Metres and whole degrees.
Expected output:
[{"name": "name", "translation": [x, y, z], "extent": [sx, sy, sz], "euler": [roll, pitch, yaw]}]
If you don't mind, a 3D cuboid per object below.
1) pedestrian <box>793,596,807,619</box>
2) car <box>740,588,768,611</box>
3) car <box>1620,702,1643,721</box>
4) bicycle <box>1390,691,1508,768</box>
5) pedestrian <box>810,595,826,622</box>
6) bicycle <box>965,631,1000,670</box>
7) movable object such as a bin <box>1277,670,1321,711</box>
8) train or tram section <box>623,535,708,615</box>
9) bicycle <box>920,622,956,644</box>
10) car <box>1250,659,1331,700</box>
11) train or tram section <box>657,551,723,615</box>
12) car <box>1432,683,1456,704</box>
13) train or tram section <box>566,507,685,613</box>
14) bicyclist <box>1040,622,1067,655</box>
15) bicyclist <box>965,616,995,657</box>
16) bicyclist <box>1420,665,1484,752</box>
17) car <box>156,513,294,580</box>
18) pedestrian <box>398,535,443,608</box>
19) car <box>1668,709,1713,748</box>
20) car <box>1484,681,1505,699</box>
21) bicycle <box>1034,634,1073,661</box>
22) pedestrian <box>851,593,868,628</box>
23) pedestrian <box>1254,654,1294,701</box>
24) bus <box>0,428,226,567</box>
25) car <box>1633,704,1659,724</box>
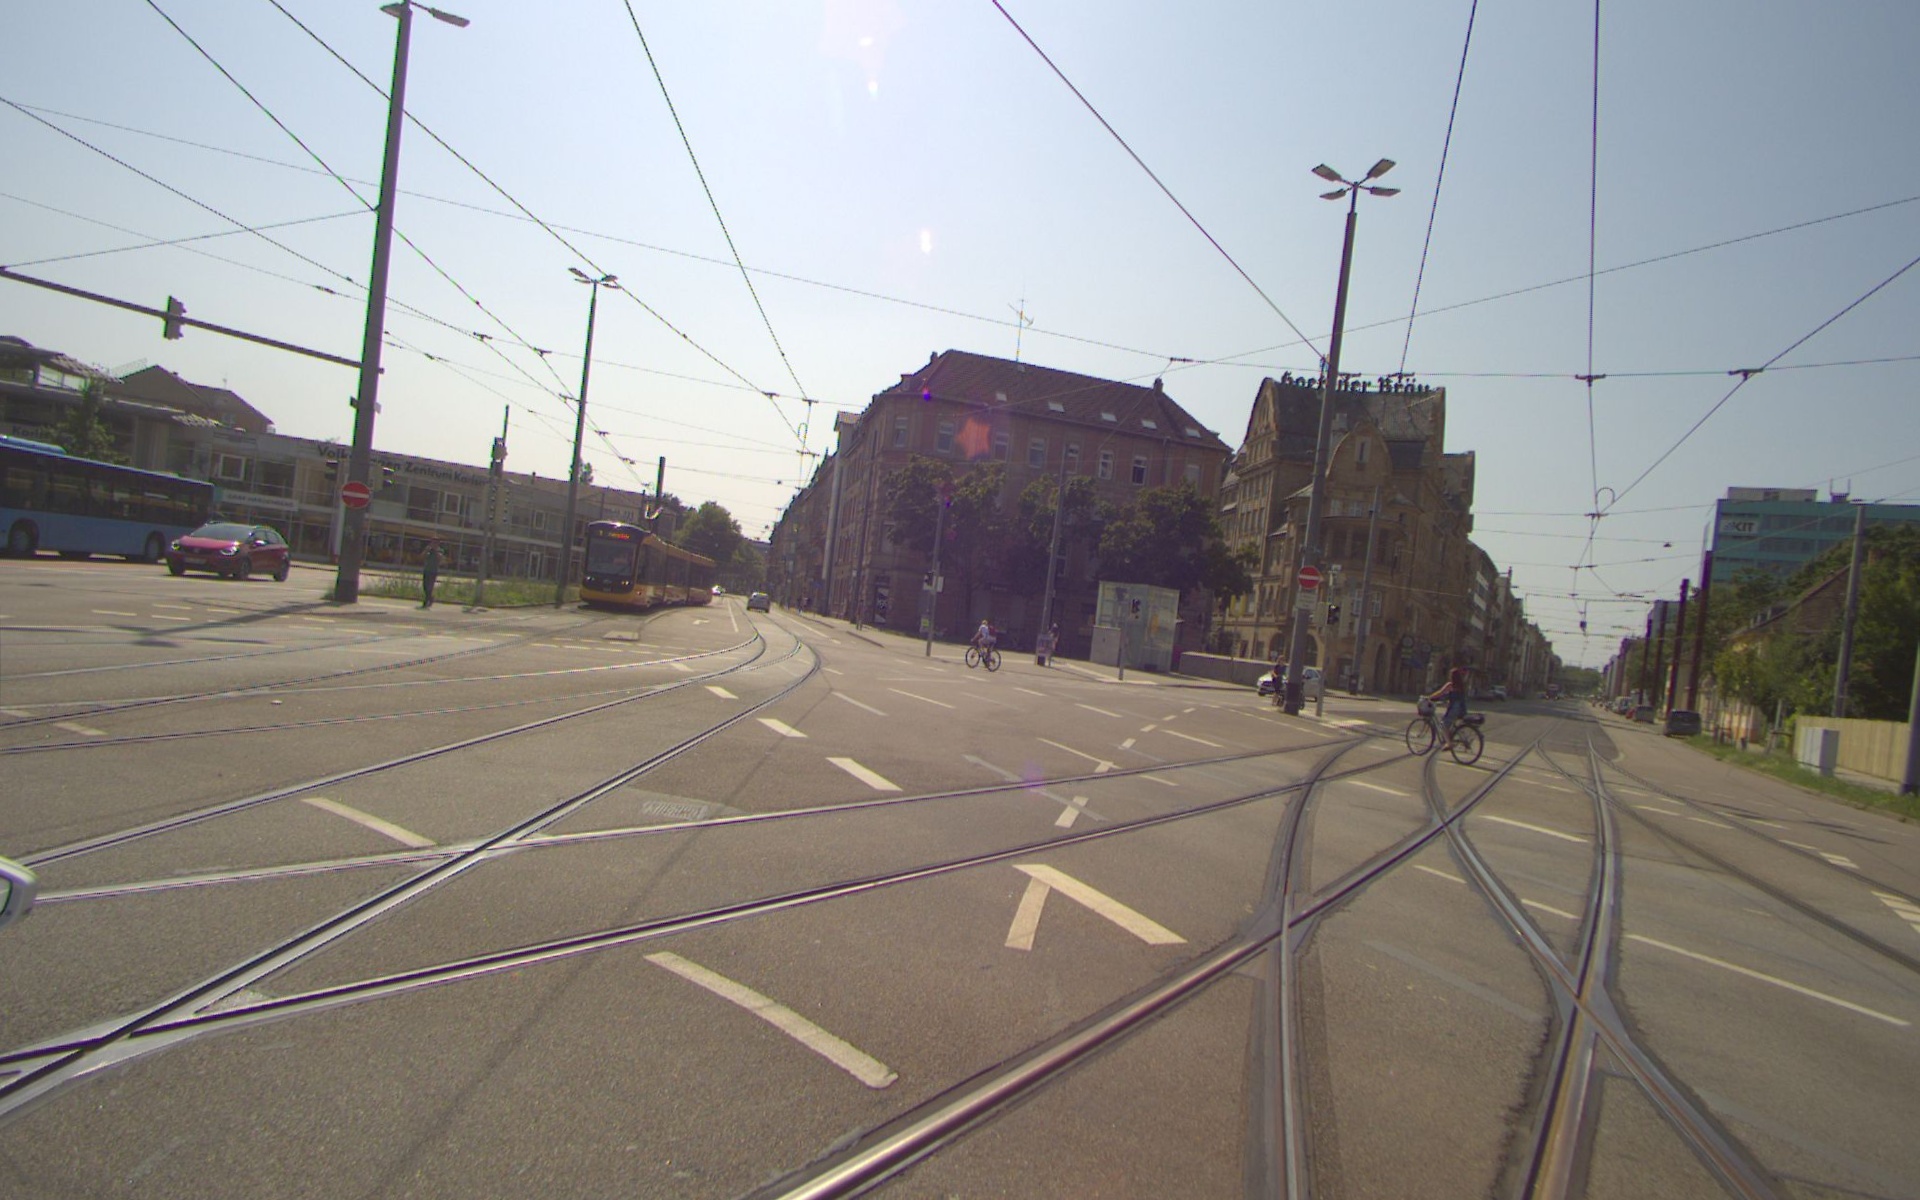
[{"name": "pedestrian", "translation": [-14.626, 0.663, 91.940], "extent": [0.783, 2.037, 0.806], "euler": [8, -1, -21]}, {"name": "car", "translation": [-16.308, -0.029, 79.532], "extent": [1.713, 1.592, 3.600], "euler": [8, -2, -17]}, {"name": "car", "translation": [80.208, 13.308, 120.185], "extent": [1.969, 1.925, 3.992], "euler": [7, -2, 36]}, {"name": "bicycle", "translation": [9.047, 2.380, 18.713], "extent": [0.435, 1.124, 2.118], "euler": [6, -1, -22]}, {"name": "pedestrian", "translation": [-11.301, 0.647, 80.096], "extent": [0.830, 2.037, 0.806], "euler": [8, -1, -21]}, {"name": "bicycle", "translation": [0.731, 1.647, 32.970], "extent": [0.435, 1.125, 1.635], "euler": [7, 0, -20]}, {"name": "movable object such as a bin", "translation": [10.388, 2.770, 30.851], "extent": [0.806, 1.097, 1.038], "euler": [8, -2, -4]}, {"name": "train or tram section", "translation": [-16.312, -1.183, 56.598], "extent": [2.552, 3.600, 12.206], "euler": [8, -2, -9]}, {"name": "bicycle", "translation": [-1.163, 1.744, 52.927], "extent": [1.763, 0.969, 0.460], "euler": [7, 0, -19]}, {"name": "car", "translation": [14.202, 3.428, 43.165], "extent": [3.704, 1.302, 1.570], "euler": [10, -3, -41]}, {"name": "train or tram section", "translation": [-18.139, -0.956, 68.325], "extent": [2.552, 3.600, 12.206], "euler": [8, -2, -9]}, {"name": "car", "translation": [38.990, 7.504, 80.981], "extent": [1.352, 1.414, 3.253], "euler": [7, -2, 30]}, {"name": "train or tram section", "translation": [-14.330, -1.415, 44.213], "extent": [2.552, 3.600, 12.206], "euler": [8, -2, -9]}, {"name": "bicyclist", "translation": [4.236, 1.754, 45.819], "extent": [0.739, 1.336, 0.916], "euler": [7, 0, -23]}, {"name": "bicyclist", "translation": [0.659, 1.197, 33.021], "extent": [0.649, 1.269, 0.641], "euler": [7, 0, -23]}, {"name": "bicyclist", "translation": [9.107, 2.003, 18.627], "extent": [0.649, 1.499, 0.641], "euler": [7, 0, -23]}, {"name": "car", "translation": [-20.269, -1.419, 27.939], "extent": [1.604, 1.489, 3.763], "euler": [7, -1, -13]}, {"name": "pedestrian", "translation": [-13.476, -0.711, 25.115], "extent": [0.796, 1.708, 0.713], "euler": [7, 0, -31]}, {"name": "car", "translation": [46.295, 8.150, 63.753], "extent": [1.971, 2.036, 3.988], "euler": [7, -3, 39]}, {"name": "car", "translation": [69.678, 11.682, 131.137], "extent": [1.967, 2.038, 3.991], "euler": [7, -1, 33]}, {"name": "bicycle", "translation": [4.220, 2.154, 45.753], "extent": [0.637, 1.010, 2.363], "euler": [7, 0, -22]}, {"name": "pedestrian", "translation": [-5.976, 0.621, 59.730], "extent": [0.641, 2.038, 0.701], "euler": [7, 0, -17]}, {"name": "pedestrian", "translation": [9.953, 2.448, 31.851], "extent": [0.713, 1.368, 0.808], "euler": [7, 0, -37]}, {"name": "bus", "translation": [-25.782, -2.839, 28.721], "extent": [2.689, 3.101, 12.059], "euler": [7, -1, -11]}, {"name": "car", "translation": [71.462, 11.890, 104.767], "extent": [1.969, 1.703, 3.992], "euler": [7, -3, 36]}]
